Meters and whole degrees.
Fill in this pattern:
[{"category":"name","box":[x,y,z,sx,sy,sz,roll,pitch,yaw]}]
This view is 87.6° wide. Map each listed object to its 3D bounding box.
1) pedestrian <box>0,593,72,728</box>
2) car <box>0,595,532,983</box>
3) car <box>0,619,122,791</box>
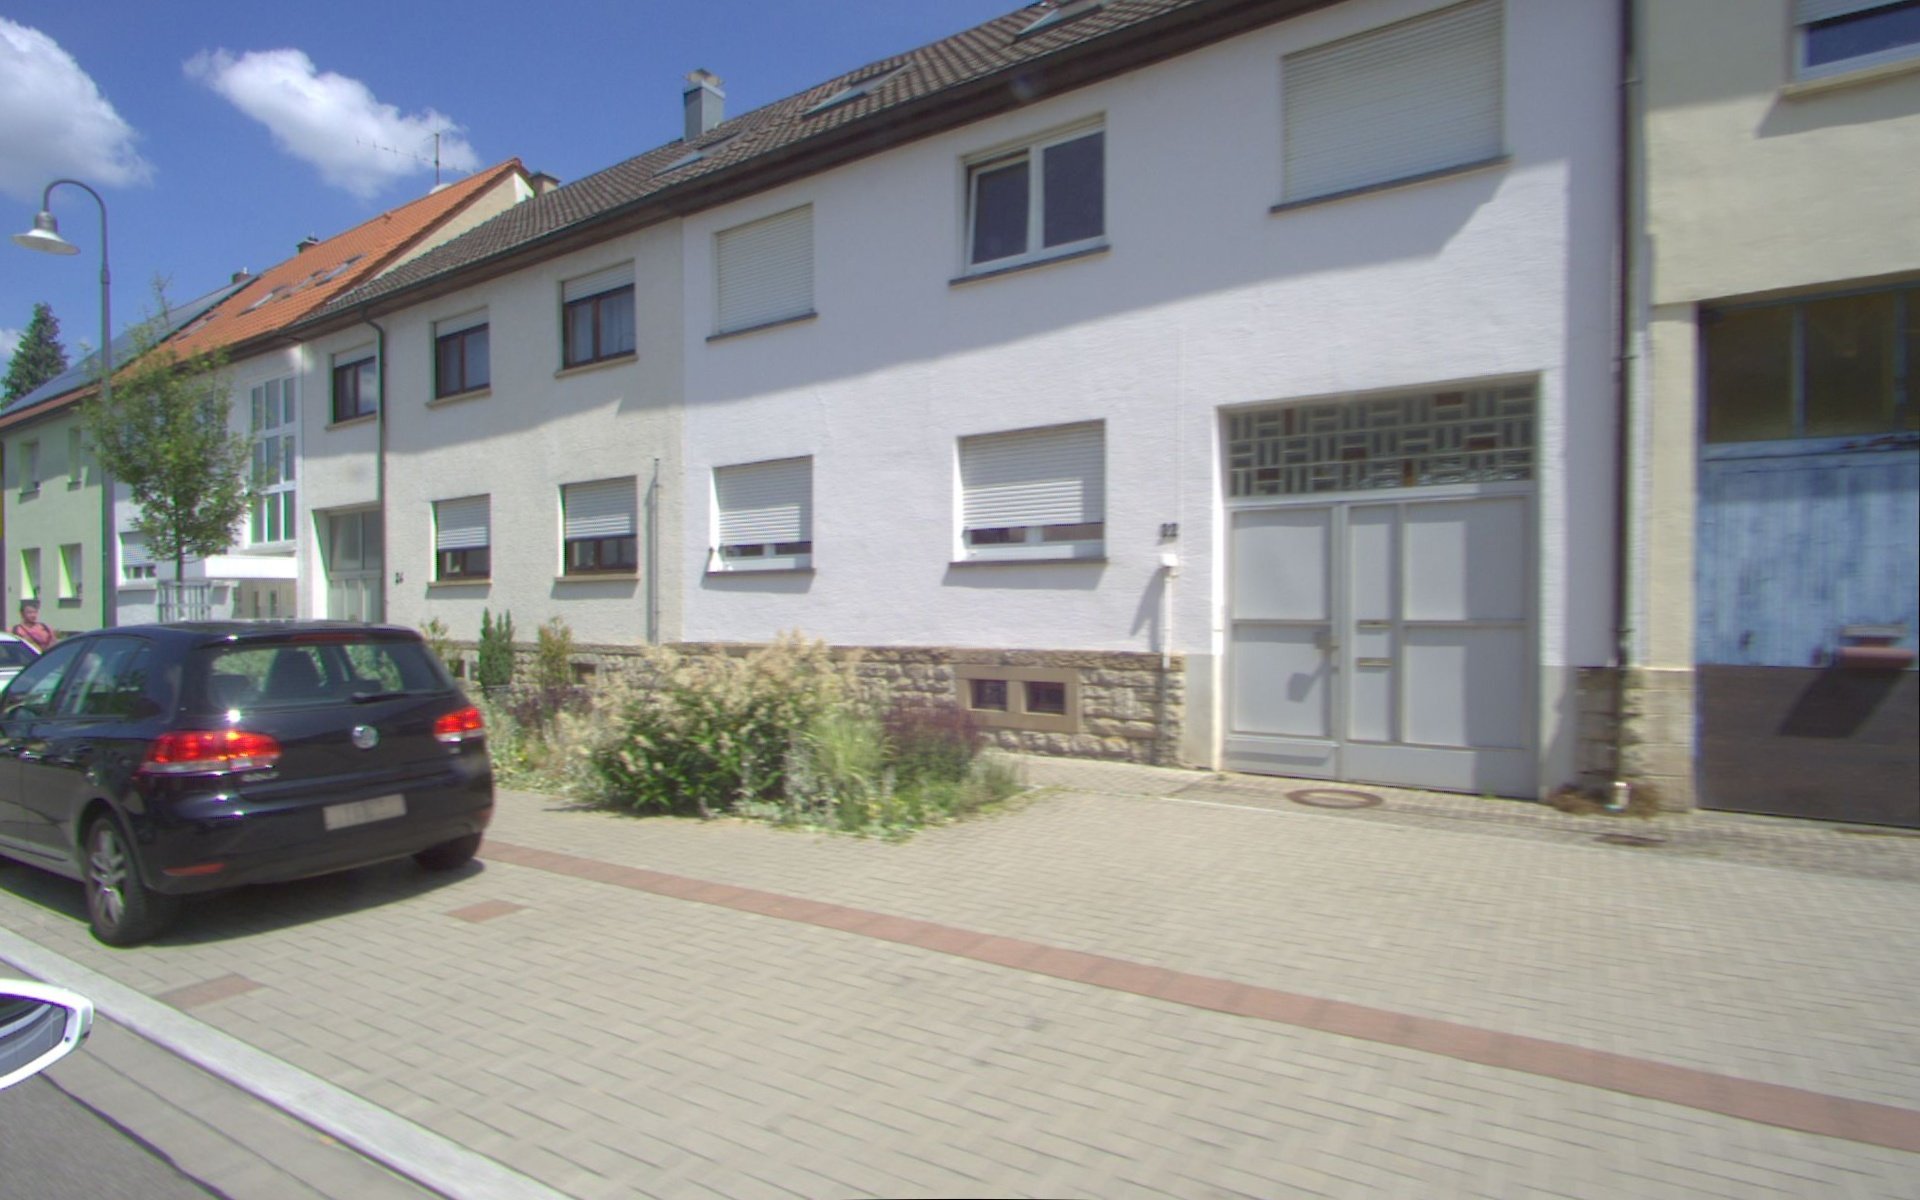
[{"category":"pedestrian","box":[-12.488,0.805,13.528,0.664,1.772,0.556,-1,0,33]},{"category":"car","box":[-4.474,0.803,5.838,3.951,1.549,1.763,-1,-1,33]},{"category":"car","box":[-10.196,0.936,9.708,4.453,1.484,1.830,-1,-1,31]}]
